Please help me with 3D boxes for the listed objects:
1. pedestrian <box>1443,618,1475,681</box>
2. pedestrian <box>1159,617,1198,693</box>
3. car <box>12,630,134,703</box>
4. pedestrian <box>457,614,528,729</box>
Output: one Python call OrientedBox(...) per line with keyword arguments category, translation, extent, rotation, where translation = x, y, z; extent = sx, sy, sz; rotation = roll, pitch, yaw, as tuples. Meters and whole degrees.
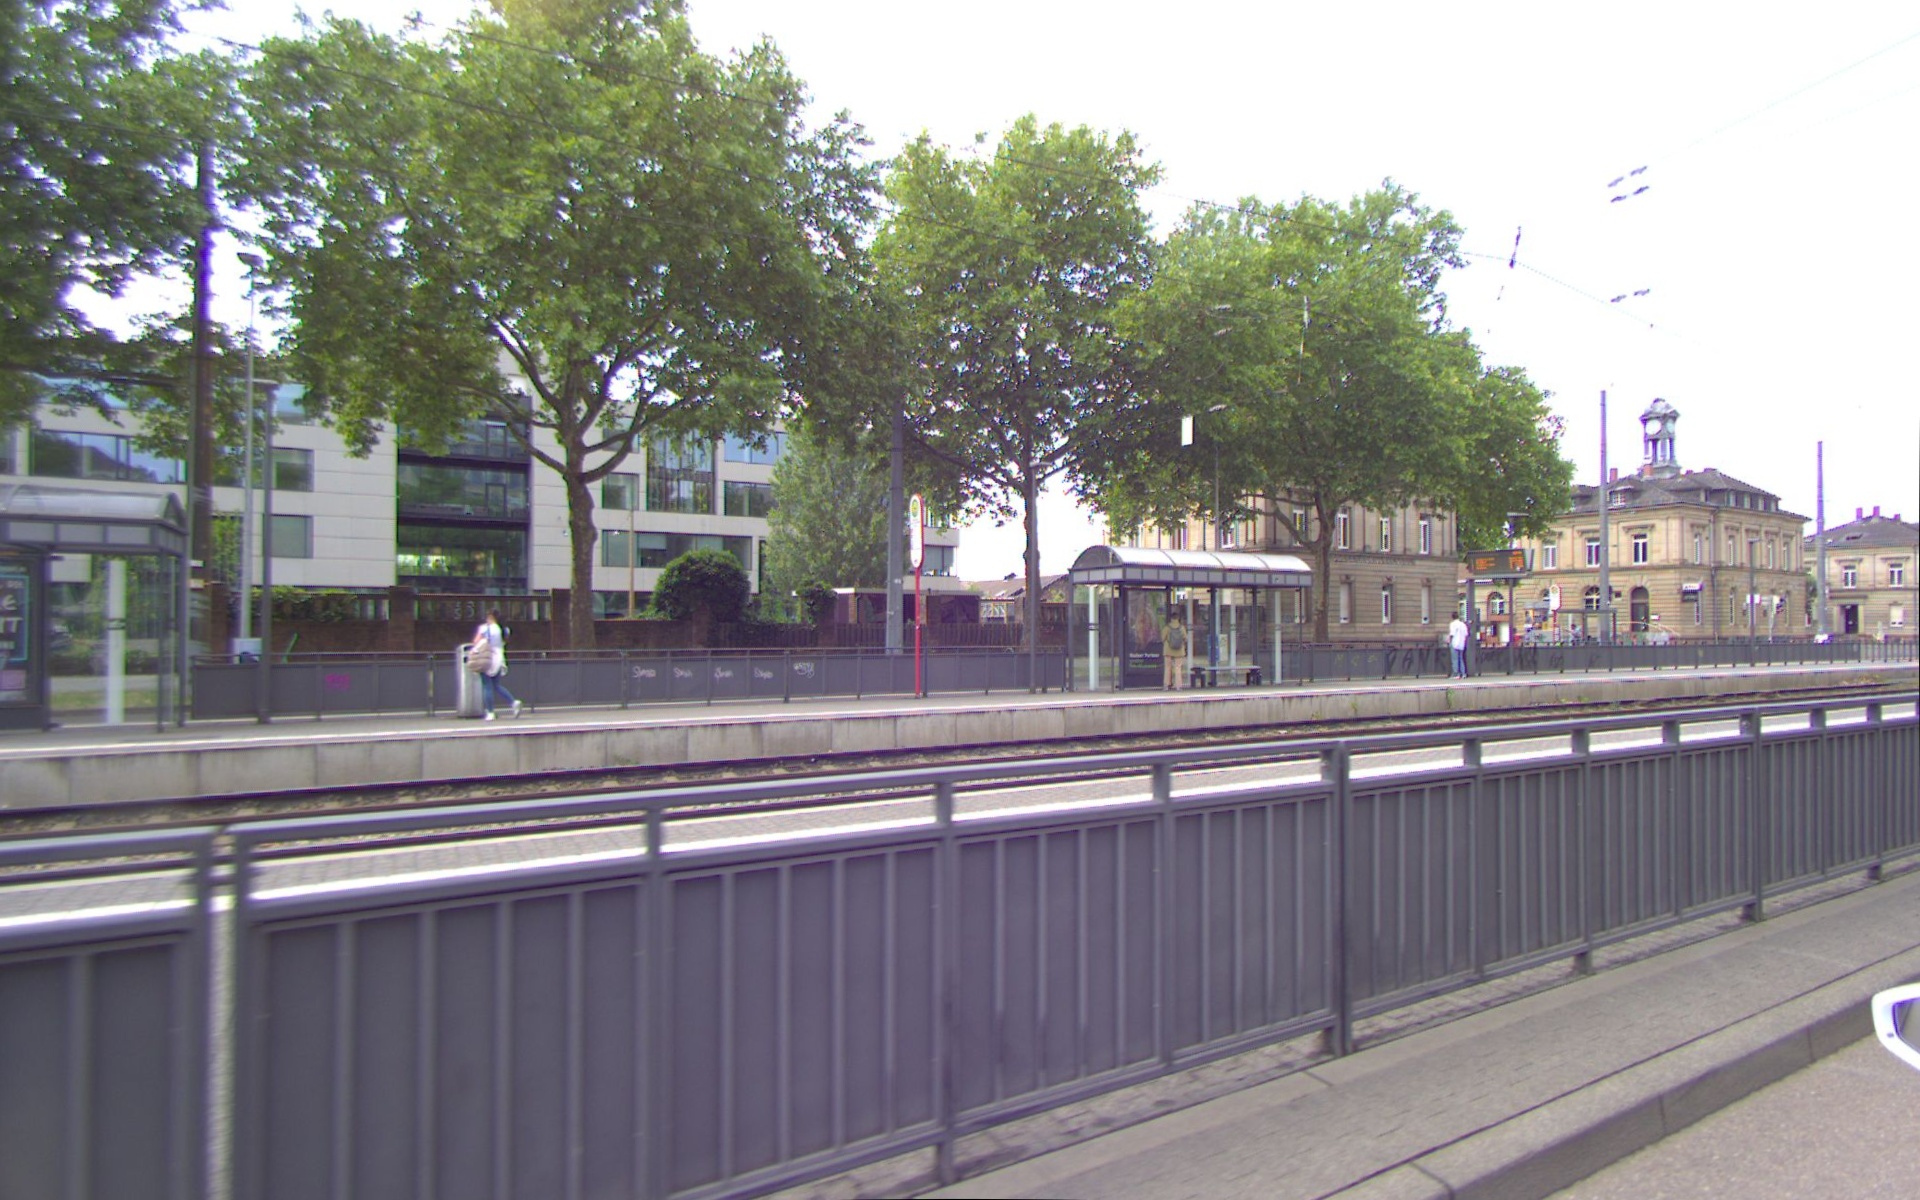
OrientedBox(category="pedestrian", translation=(13.603, 1.343, 27.363), extent=(0.635, 1.705, 0.498), rotation=(1, -2, -30))
OrientedBox(category="pedestrian", translation=(4.588, 1.142, 21.098), extent=(0.635, 1.579, 0.498), rotation=(1, -2, -30))
OrientedBox(category="car", translation=(-26.825, 2.007, 30.536), extent=(1.937, 2.060, 4.119), rotation=(1, -4, -30))
OrientedBox(category="pedestrian", translation=(-6.484, 0.970, 13.935), extent=(0.795, 1.532, 0.697), rotation=(1, -2, -34))
